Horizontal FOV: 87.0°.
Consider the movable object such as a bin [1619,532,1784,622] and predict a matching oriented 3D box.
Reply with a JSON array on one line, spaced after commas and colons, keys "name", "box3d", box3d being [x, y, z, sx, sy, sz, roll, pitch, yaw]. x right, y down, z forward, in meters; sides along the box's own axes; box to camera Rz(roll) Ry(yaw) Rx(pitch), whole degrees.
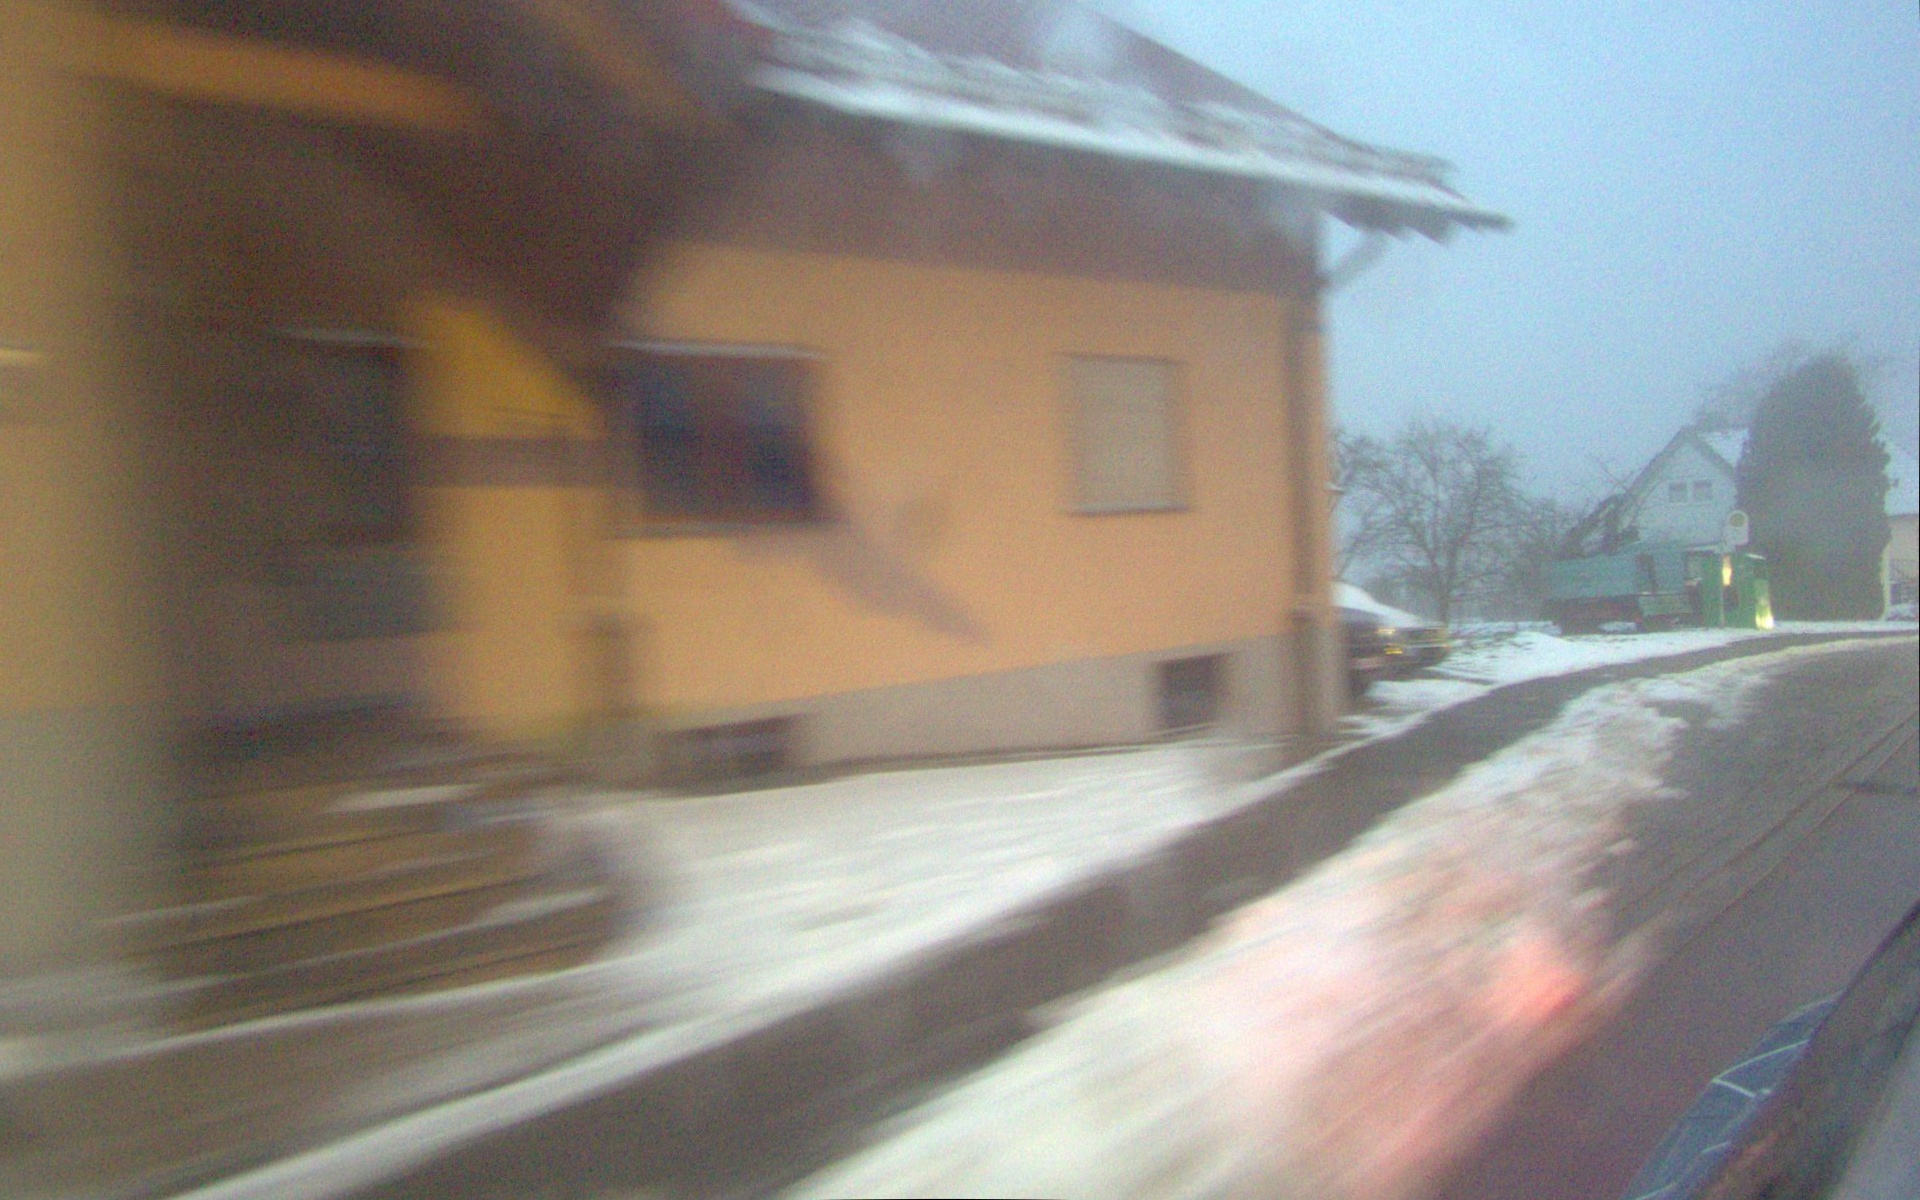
[{"name": "movable object such as a bin", "box3d": [22.273, -0.741, 30.403, 4.426, 2.499, 2.398, -2, 2, -30]}]

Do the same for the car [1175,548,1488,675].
[{"name": "car", "box3d": [5.418, 0.041, 15.401, 1.959, 1.578, 4.266, -1, 4, -26]}]

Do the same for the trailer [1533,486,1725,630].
[{"name": "trailer", "box3d": [18.480, -1.166, 27.916, 4.968, 3.604, 2.884, -2, 2, -36]}]

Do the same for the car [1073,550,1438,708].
[{"name": "car", "box3d": [3.452, 0.199, 12.637, 1.908, 1.578, 4.177, -1, 3, -31]}]
